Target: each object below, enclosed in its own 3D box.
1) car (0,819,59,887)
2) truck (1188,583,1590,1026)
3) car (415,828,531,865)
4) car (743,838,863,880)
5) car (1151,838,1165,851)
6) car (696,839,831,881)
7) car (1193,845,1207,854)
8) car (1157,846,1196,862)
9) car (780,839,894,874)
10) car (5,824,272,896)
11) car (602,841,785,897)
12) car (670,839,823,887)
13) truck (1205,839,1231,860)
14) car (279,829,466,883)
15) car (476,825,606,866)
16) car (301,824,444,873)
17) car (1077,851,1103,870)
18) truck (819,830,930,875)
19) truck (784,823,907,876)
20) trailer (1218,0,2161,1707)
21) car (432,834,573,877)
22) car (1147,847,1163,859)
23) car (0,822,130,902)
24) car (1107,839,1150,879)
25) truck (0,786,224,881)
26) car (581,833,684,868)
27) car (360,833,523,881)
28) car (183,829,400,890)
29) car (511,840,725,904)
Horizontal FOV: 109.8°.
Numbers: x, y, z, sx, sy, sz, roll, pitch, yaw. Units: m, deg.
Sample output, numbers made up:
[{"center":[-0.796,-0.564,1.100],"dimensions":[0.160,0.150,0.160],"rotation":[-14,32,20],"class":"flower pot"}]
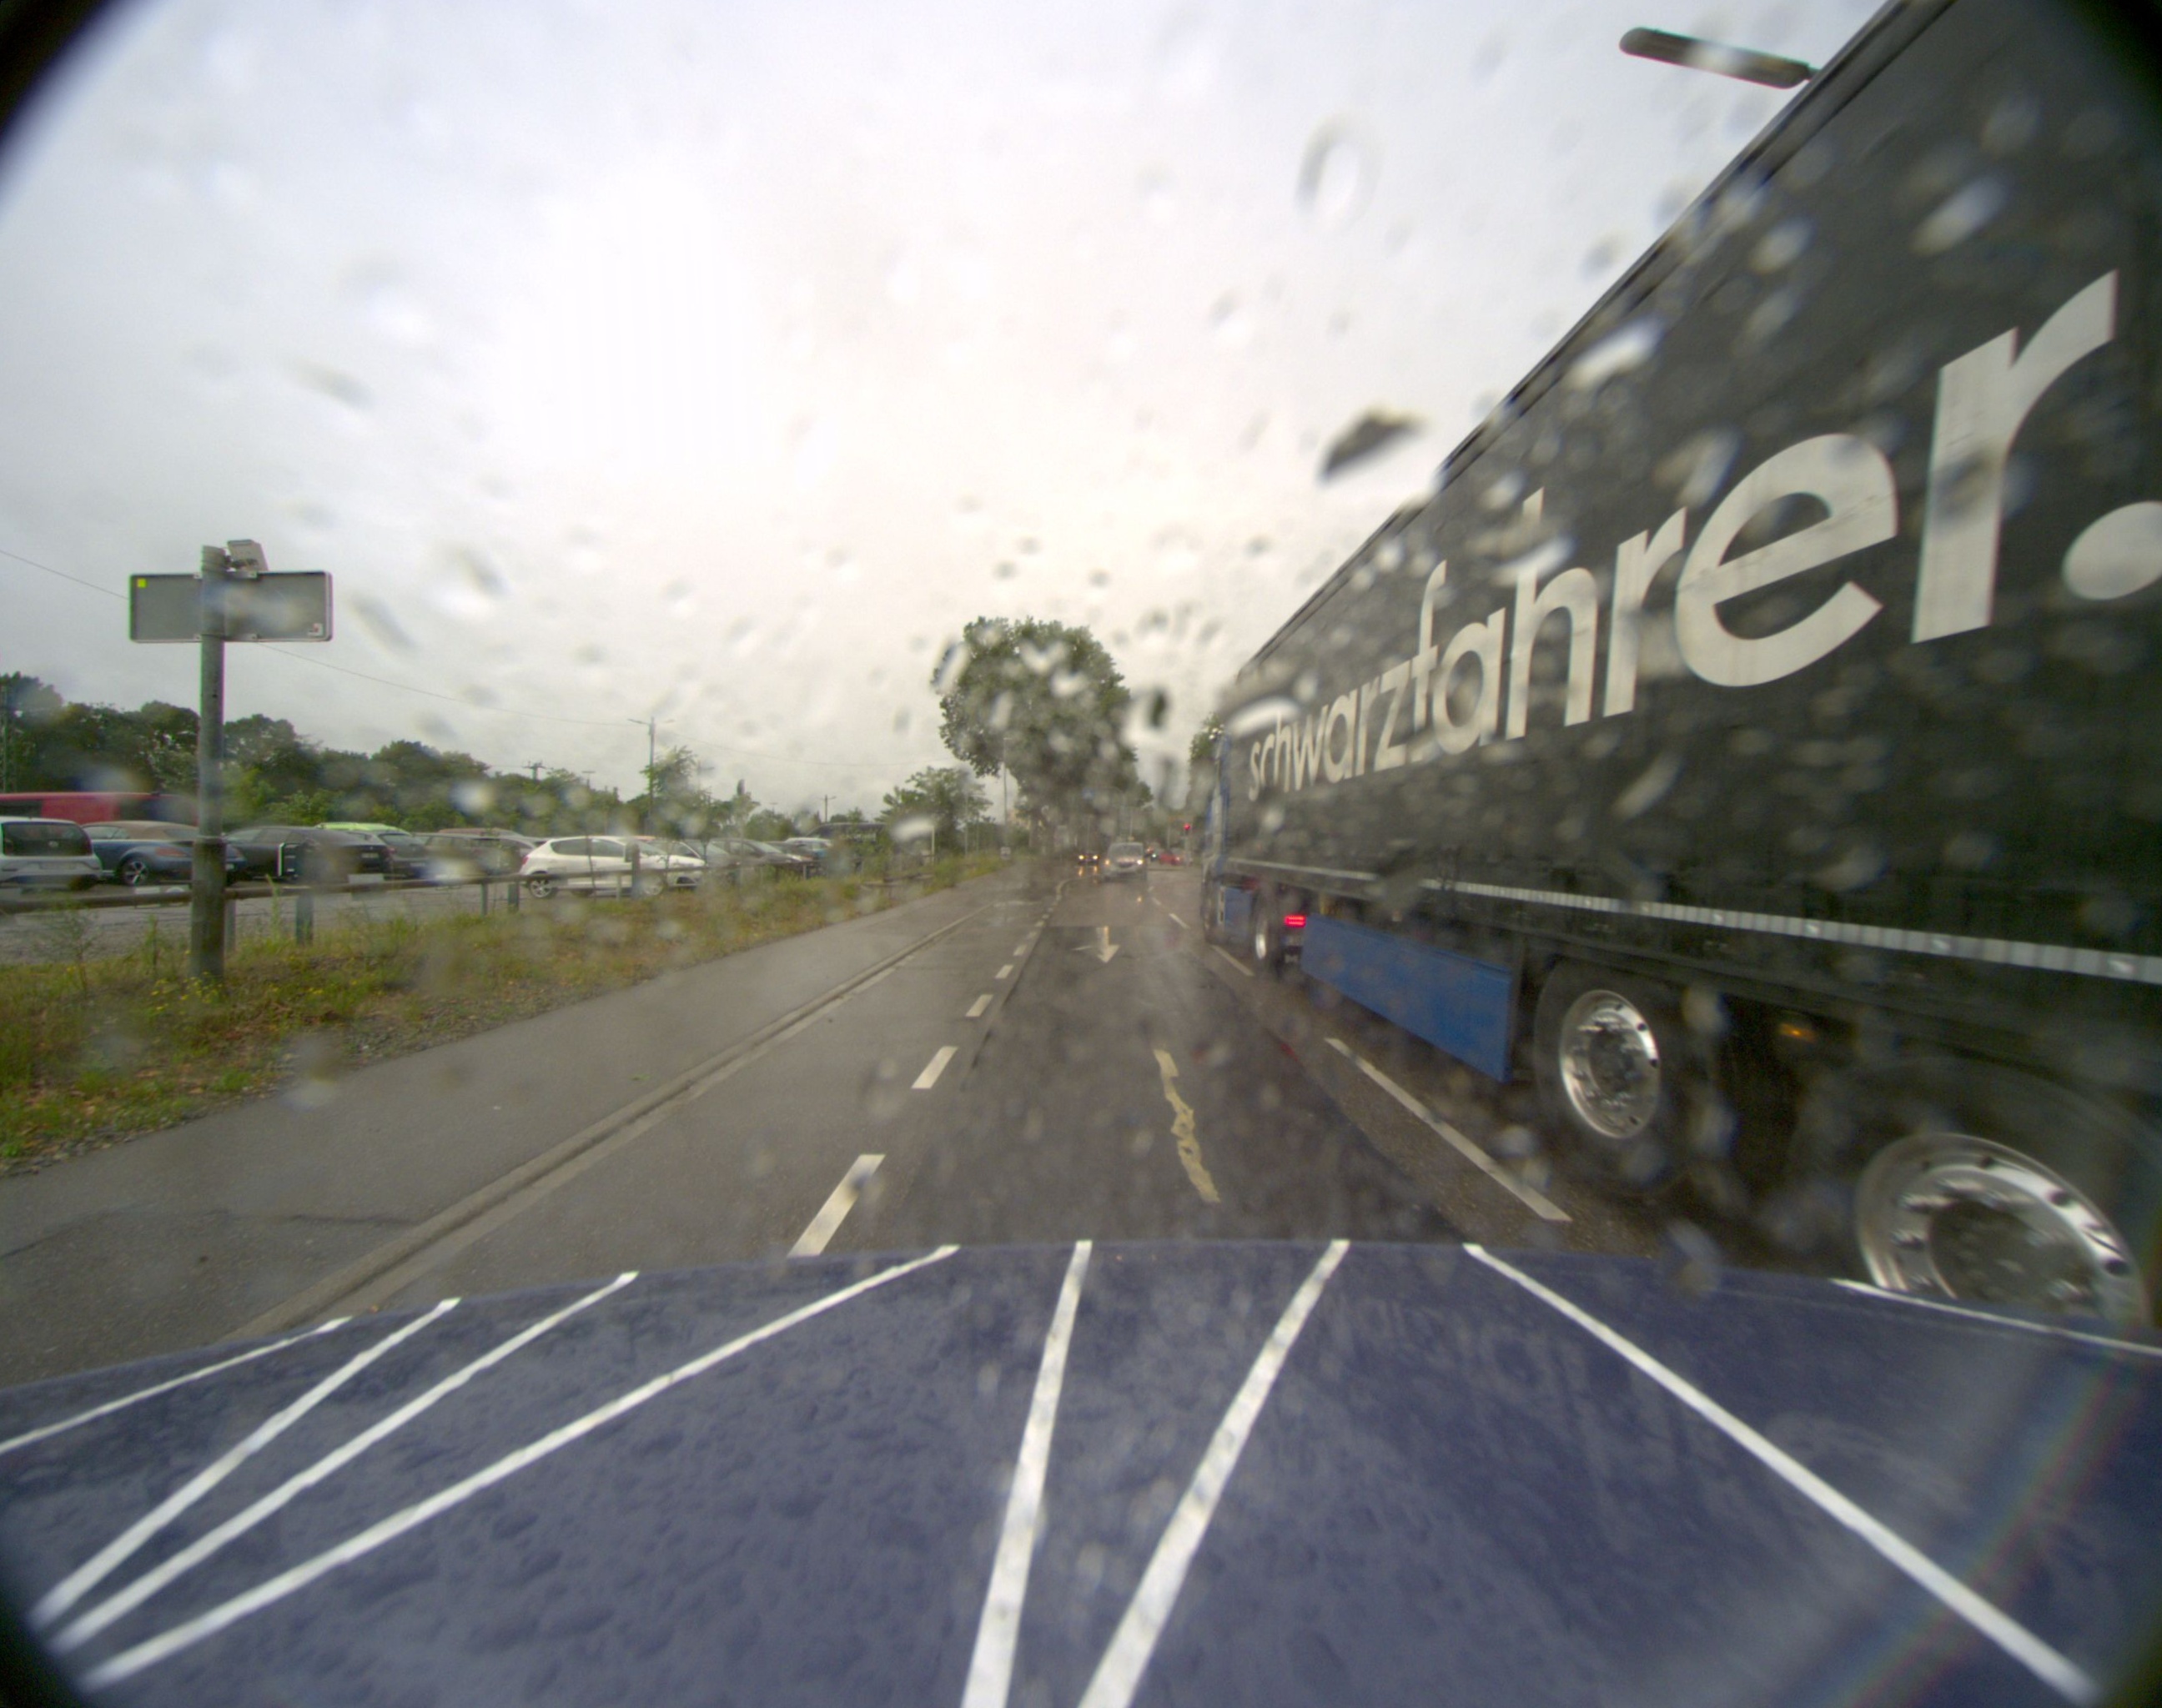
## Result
[{"center":[-27.206,-0.075,17.871],"dimensions":[3.997,1.565,1.770],"rotation":[2,1,1],"class":"car"},{"center":[3.669,-0.536,11.049],"dimensions":[3.302,4.627,6.032],"rotation":[1,1,0],"class":"truck"},{"center":[-28.106,-0.352,35.206],"dimensions":[3.996,1.630,1.765],"rotation":[1,1,2],"class":"car"},{"center":[-10.654,0.167,29.357],"dimensions":[3.906,1.586,1.896],"rotation":[0,2,-2],"class":"car"},{"center":[11.250,-1.408,110.985],"dimensions":[1.852,1.594,4.500],"rotation":[-2,3,8],"class":"car"},{"center":[-10.912,0.188,26.293],"dimensions":[3.906,1.387,1.778],"rotation":[0,2,-2],"class":"car"},{"center":[23.495,-0.881,150.565],"dimensions":[1.999,1.632,3.999],"rotation":[1,1,-2],"class":"car"},{"center":[8.365,-0.003,66.868],"dimensions":[1.746,1.373,3.992],"rotation":[1,1,-20],"class":"car"},{"center":[-10.165,0.087,31.891],"dimensions":[4.170,1.412,1.862],"rotation":[0,2,-2],"class":"car"},{"center":[-21.678,0.103,17.599],"dimensions":[3.961,1.419,1.887],"rotation":[2,2,3],"class":"car"},{"center":[-10.288,0.374,20.430],"dimensions":[3.906,1.415,1.905],"rotation":[0,2,-2],"class":"car"},{"center":[-10.230,0.244,23.444],"dimensions":[3.906,1.415,1.778],"rotation":[0,2,-2],"class":"car"},{"center":[18.098,-0.655,100.639],"dimensions":[2.090,2.604,6.976],"rotation":[1,1,0],"class":"truck"},{"center":[-21.345,0.039,23.003],"dimensions":[3.961,1.419,1.887],"rotation":[2,2,3],"class":"car"},{"center":[-22.385,-0.366,31.602],"dimensions":[4.074,1.482,1.926],"rotation":[2,2,3],"class":"car"},{"center":[-27.189,-0.238,29.240],"dimensions":[3.995,1.790,1.797],"rotation":[1,1,5],"class":"car"},{"center":[0.760,0.500,62.584],"dimensions":[1.742,1.438,4.002],"rotation":[3,1,6],"class":"car"},{"center":[-10.954,-0.094,40.625],"dimensions":[5.342,2.310,2.074],"rotation":[0,1,1],"class":"truck"},{"center":[-10.798,-0.219,35.126],"dimensions":[5.046,2.389,2.110],"rotation":[0,1,-2],"class":"truck"},{"center":[3.561,-0.359,4.158],"dimensions":[3.302,4.627,13.732],"rotation":[1,1,1],"class":"trailer"},{"center":[-21.622,0.040,28.505],"dimensions":[3.961,1.419,1.821],"rotation":[2,2,3],"class":"car"},{"center":[8.340,-0.144,85.480],"dimensions":[1.643,1.346,3.777],"rotation":[1,1,7],"class":"car"},{"center":[-21.924,0.089,15.039],"dimensions":[3.961,1.419,1.887],"rotation":[2,2,3],"class":"car"},{"center":[2.170,0.187,35.194],"dimensions":[1.838,1.714,4.173],"rotation":[1,1,3],"class":"car"},{"center":[-27.081,-0.552,20.576],"dimensions":[5.301,2.354,2.153],"rotation":[1,1,0],"class":"truck"},{"center":[-21.898,-0.210,37.193],"dimensions":[3.961,1.528,1.807],"rotation":[2,2,3],"class":"car"},{"center":[-21.498,0.062,25.640],"dimensions":[3.961,1.419,1.887],"rotation":[2,2,3],"class":"car"},{"center":[-21.069,0.115,20.398],"dimensions":[3.961,1.419,1.887],"rotation":[2,2,3],"class":"car"},{"center":[-10.659,0.383,17.725],"dimensions":[3.781,1.385,1.905],"rotation":[0,2,-2],"class":"car"}]
